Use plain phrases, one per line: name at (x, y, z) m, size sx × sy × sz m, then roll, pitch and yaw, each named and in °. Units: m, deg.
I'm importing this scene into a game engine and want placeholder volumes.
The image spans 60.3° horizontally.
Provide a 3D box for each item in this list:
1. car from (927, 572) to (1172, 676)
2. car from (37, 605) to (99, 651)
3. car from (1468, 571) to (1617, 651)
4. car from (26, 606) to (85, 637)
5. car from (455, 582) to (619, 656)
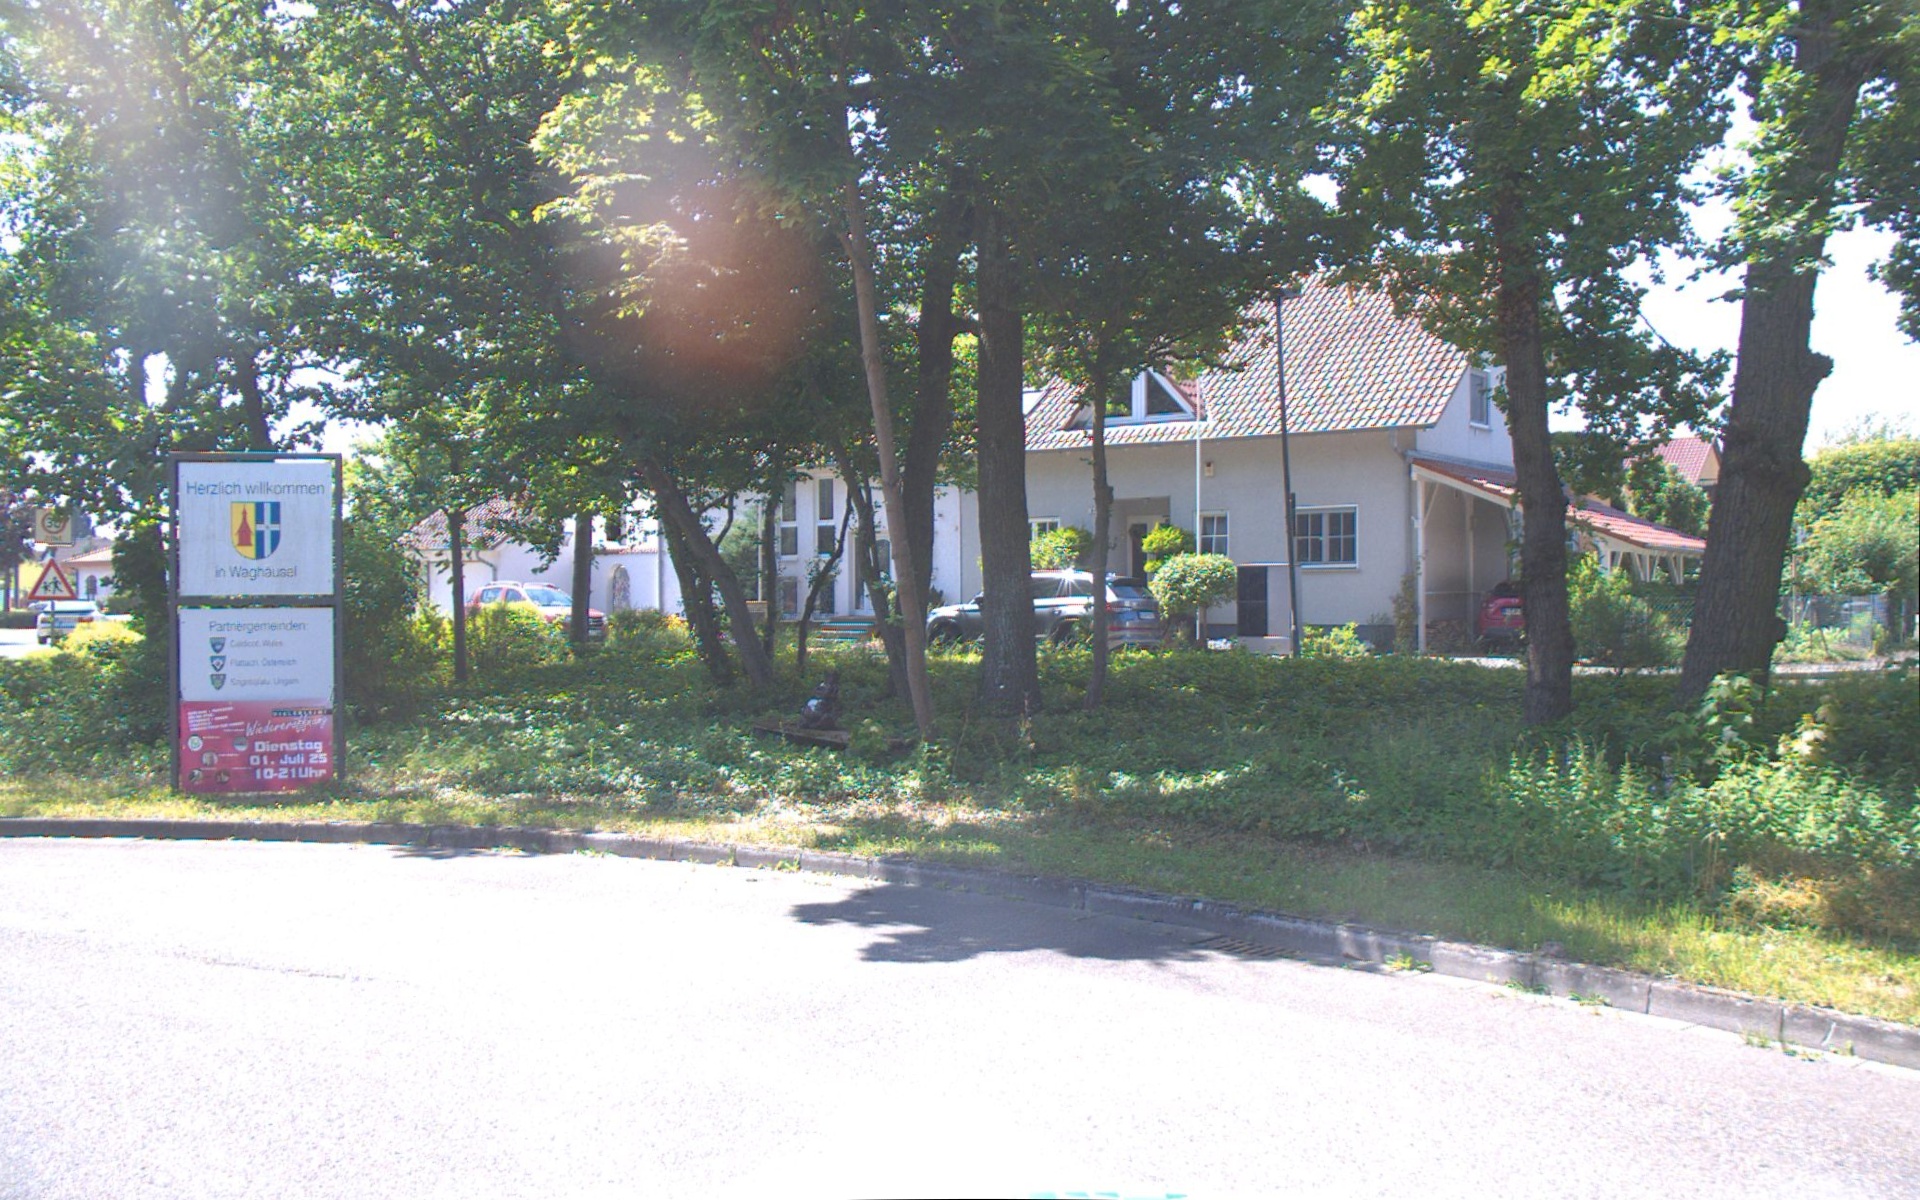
car at (1.548, 0.396, 29.185) m, size 4.058 × 1.735 × 1.661 m, roll 0°, pitch 0°, yaw 34°
car at (-27.225, 0.839, 50.571) m, size 1.596 × 1.311 × 3.524 m, roll -1°, pitch 0°, yaw -28°
car at (11.178, 0.182, 31.617) m, size 1.652 × 1.409 × 3.678 m, roll 0°, pitch 1°, yaw 37°
car at (-46.259, 1.070, 84.549) m, size 1.622 × 1.512 × 3.933 m, roll -1°, pitch 1°, yaw -45°
car at (-9.838, 0.415, 38.384) m, size 3.950 × 1.629 × 1.658 m, roll 0°, pitch 0°, yaw 39°
